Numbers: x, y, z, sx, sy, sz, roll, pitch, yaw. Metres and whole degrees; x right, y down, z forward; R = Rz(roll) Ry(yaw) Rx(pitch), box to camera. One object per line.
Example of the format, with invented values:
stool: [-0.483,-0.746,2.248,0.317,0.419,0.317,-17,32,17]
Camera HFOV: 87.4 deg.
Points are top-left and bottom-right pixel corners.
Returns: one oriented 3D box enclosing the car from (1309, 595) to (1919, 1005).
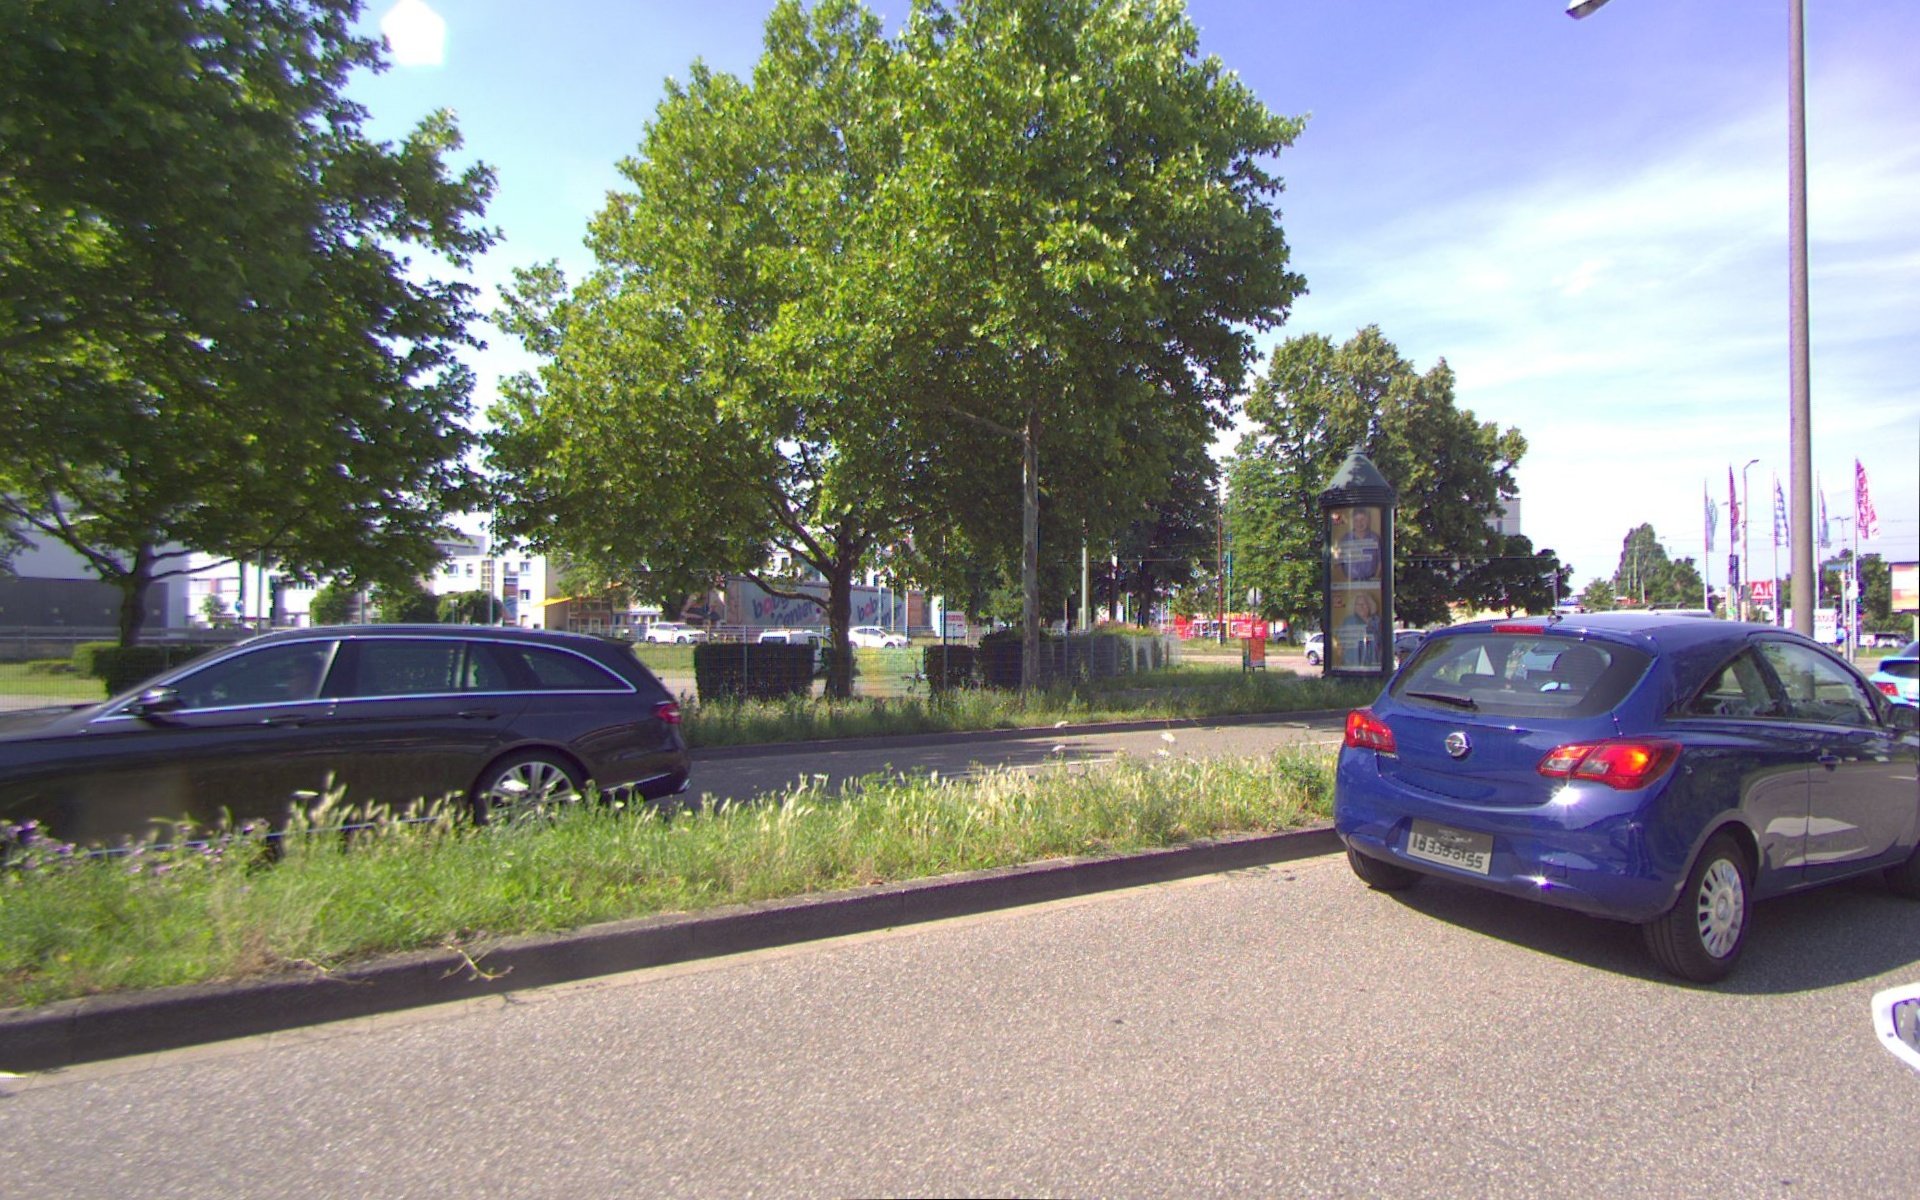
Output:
car: [3.894,0.760,5.425,4.002,1.503,1.618,1,0,-31]

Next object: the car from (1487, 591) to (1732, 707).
car: [12.958,0.930,19.955,5.152,2.040,1.984,1,-2,-31]

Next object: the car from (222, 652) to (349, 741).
car: [-13.162,1.804,19.810,1.788,1.514,3.969,1,-2,-30]

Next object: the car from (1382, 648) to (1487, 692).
car: [17.071,2.482,36.323,1.731,1.407,3.999,-1,-1,-3]

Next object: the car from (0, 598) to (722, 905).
car: [-4.136,0.826,6.655,4.627,1.551,1.984,1,-3,-30]

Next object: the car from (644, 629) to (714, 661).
car: [-17.695,2.844,63.290,3.925,1.929,1.845,-2,0,25]

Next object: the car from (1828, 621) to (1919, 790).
car: [10.112,0.931,9.423,4.421,1.408,1.693,1,0,-31]

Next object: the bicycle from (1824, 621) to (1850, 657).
bicycle: [40.975,1.813,46.923,0.982,1.636,0.667,1,-2,-36]

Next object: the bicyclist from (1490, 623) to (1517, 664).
bicyclist: [22.757,1.811,42.076,0.883,1.668,0.787,-1,0,24]

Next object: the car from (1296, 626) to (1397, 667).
car: [16.098,1.918,42.060,1.695,1.624,4.148,1,-2,-18]

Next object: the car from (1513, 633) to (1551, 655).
car: [47.469,3.631,83.410,1.960,1.706,4.001,-1,-2,18]

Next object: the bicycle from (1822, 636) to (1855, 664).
bicycle: [41.115,2.324,46.997,2.225,1.273,0.667,1,-2,-36]

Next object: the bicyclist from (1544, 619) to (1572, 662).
bicyclist: [24.904,1.693,41.853,0.883,1.738,0.782,-1,0,24]

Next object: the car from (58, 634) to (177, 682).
car: [-31.456,2.122,37.671,1.774,1.524,3.989,-2,0,-14]

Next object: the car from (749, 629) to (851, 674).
car: [-6.382,2.061,40.643,1.961,1.687,4.845,-1,-2,21]

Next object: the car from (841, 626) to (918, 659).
car: [-4.577,2.436,57.302,3.925,1.795,1.845,-2,0,25]
